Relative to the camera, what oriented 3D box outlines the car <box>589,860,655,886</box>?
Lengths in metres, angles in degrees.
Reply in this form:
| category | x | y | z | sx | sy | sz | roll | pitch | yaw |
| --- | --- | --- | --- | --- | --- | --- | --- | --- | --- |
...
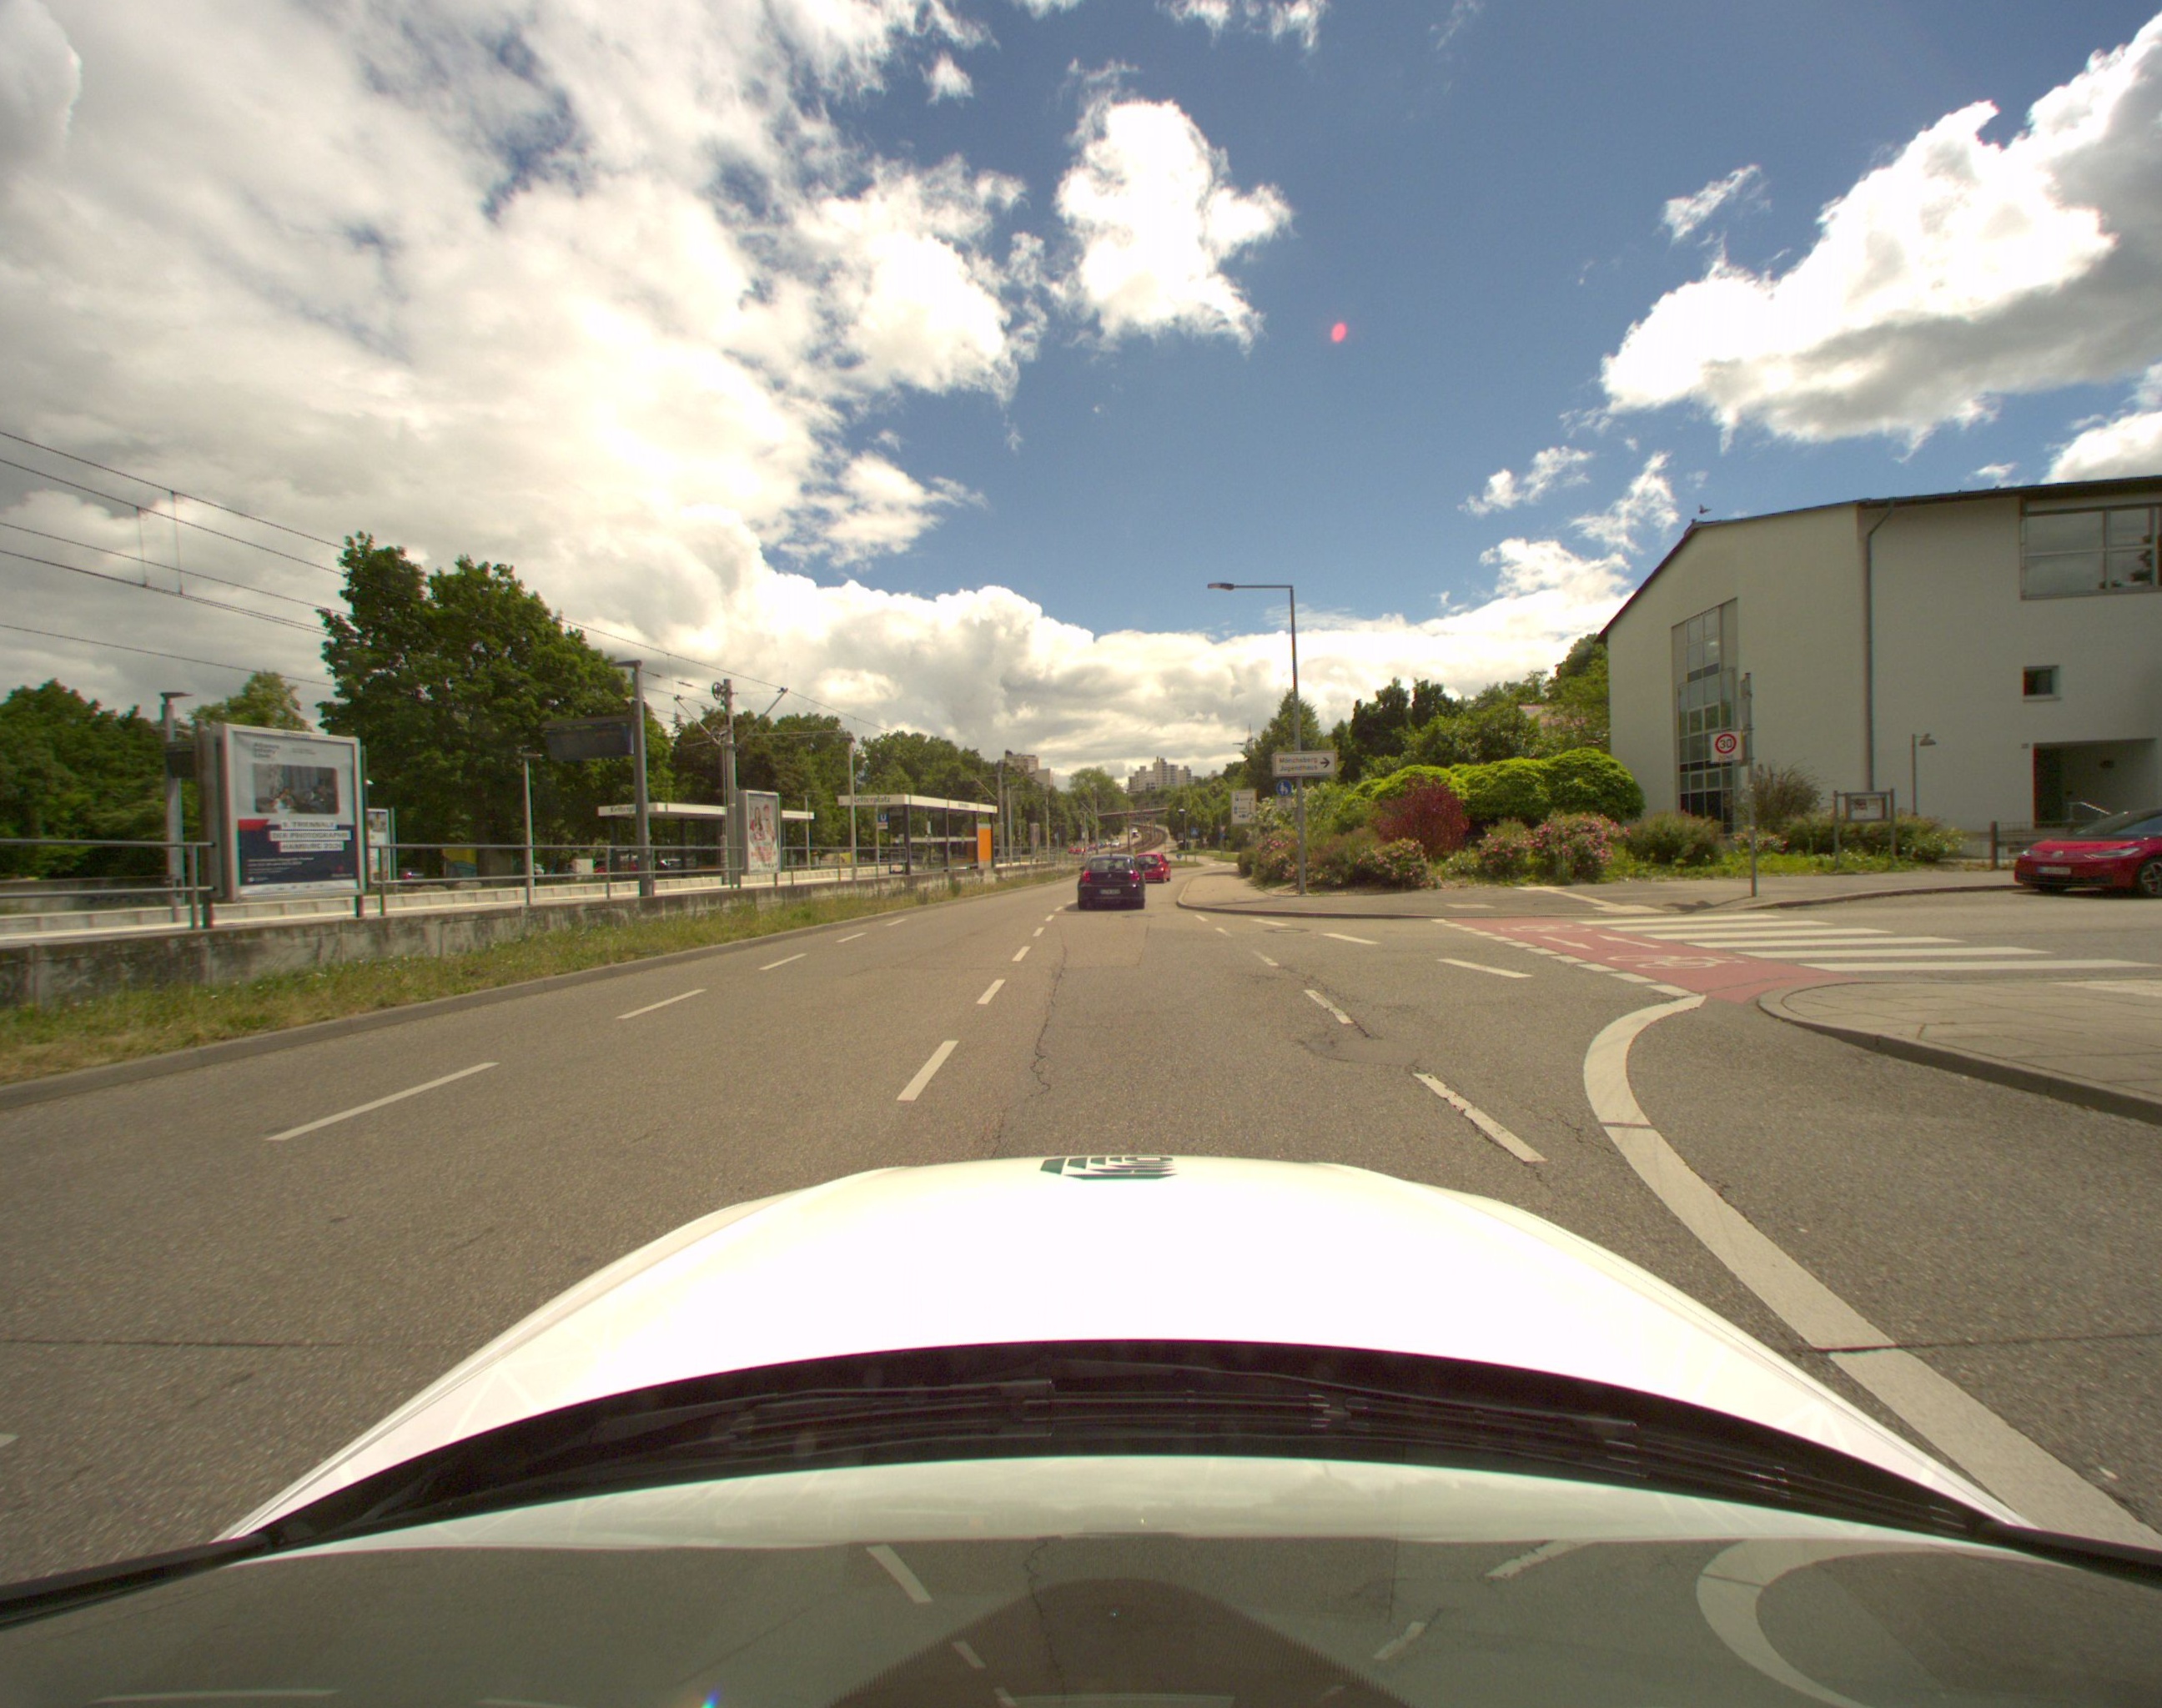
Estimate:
| category | x | y | z | sx | sy | sz | roll | pitch | yaw |
| --- | --- | --- | --- | --- | --- | --- | --- | --- | --- |
| car | -33.612 | 1.399 | 59.634 | 3.615 | 1.705 | 2.058 | -2 | 1 | 8 |

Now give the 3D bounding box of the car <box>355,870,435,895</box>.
| category | x | y | z | sx | sy | sz | roll | pitch | yaw |
| --- | --- | --- | --- | --- | --- | --- | --- | --- | --- |
| car | -46.588 | 1.934 | 55.360 | 3.802 | 1.491 | 1.972 | -2 | 1 | 5 |

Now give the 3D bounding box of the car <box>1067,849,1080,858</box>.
| category | x | y | z | sx | sy | sz | roll | pitch | yaw |
| --- | --- | --- | --- | --- | --- | --- | --- | --- | --- |
| car | -1.199 | -0.078 | 133.529 | 1.519 | 1.370 | 3.607 | -2 | 1 | 10 |

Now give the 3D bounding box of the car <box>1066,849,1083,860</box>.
| category | x | y | z | sx | sy | sz | roll | pitch | yaw |
| --- | --- | --- | --- | --- | --- | --- | --- | --- | --- |
| car | -0.944 | 0.052 | 125.483 | 1.705 | 1.503 | 2.982 | -1 | 1 | 20 |

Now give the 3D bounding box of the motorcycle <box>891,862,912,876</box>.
| category | x | y | z | sx | sy | sz | roll | pitch | yaw |
| --- | --- | --- | --- | --- | --- | --- | --- | --- | --- |
| motorcycle | -15.022 | 1.228 | 68.114 | 0.723 | 1.081 | 2.225 | -2 | 0 | 17 |

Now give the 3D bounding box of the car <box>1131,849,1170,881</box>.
| category | x | y | z | sx | sy | sz | roll | pitch | yaw |
| --- | --- | --- | --- | --- | --- | --- | --- | --- | --- |
| car | 3.378 | 0.525 | 39.941 | 1.758 | 1.432 | 3.482 | -2 | 0 | 4 |

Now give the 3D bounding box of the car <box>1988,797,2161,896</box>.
| category | x | y | z | sx | sy | sz | roll | pitch | yaw |
| --- | --- | --- | --- | --- | --- | --- | --- | --- | --- |
| car | 19.280 | -0.205 | 14.399 | 4.137 | 1.561 | 2.003 | -2 | 2 | 4 |

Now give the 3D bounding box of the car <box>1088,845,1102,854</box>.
| category | x | y | z | sx | sy | sz | roll | pitch | yaw |
| --- | --- | --- | --- | --- | --- | --- | --- | --- | --- |
| car | 2.629 | -0.814 | 154.592 | 1.900 | 1.561 | 4.014 | -2 | 1 | 12 |

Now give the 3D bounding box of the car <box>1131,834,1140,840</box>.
| category | x | y | z | sx | sy | sz | roll | pitch | yaw |
| --- | --- | --- | --- | --- | --- | --- | --- | --- | --- |
| car | 15.466 | -4.746 | 231.144 | 1.979 | 1.597 | 4.437 | -2 | 0 | 14 |

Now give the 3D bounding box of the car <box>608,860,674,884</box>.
| category | x | y | z | sx | sy | sz | roll | pitch | yaw |
| --- | --- | --- | --- | --- | --- | --- | --- | --- | --- |
| car | -33.449 | 1.346 | 61.940 | 3.964 | 1.684 | 1.980 | -2 | 1 | 8 |

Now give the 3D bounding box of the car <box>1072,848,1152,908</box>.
| category | x | y | z | sx | sy | sz | roll | pitch | yaw |
| --- | --- | --- | --- | --- | --- | --- | --- | --- | --- |
| car | 0.937 | 0.618 | 22.160 | 1.806 | 1.421 | 4.007 | -2 | -1 | 7 |

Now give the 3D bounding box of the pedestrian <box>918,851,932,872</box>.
| category | x | y | z | sx | sy | sz | roll | pitch | yaw |
| --- | --- | --- | --- | --- | --- | --- | --- | --- | --- |
| pedestrian | -15.687 | 0.754 | 81.953 | 0.951 | 2.013 | 0.827 | -1 | 1 | 28 |

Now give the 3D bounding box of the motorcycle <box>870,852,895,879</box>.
| category | x | y | z | sx | sy | sz | roll | pitch | yaw |
| --- | --- | --- | --- | --- | --- | --- | --- | --- | --- |
| motorcycle | -15.788 | 0.908 | 64.866 | 0.826 | 2.013 | 1.993 | -2 | 0 | 23 |
